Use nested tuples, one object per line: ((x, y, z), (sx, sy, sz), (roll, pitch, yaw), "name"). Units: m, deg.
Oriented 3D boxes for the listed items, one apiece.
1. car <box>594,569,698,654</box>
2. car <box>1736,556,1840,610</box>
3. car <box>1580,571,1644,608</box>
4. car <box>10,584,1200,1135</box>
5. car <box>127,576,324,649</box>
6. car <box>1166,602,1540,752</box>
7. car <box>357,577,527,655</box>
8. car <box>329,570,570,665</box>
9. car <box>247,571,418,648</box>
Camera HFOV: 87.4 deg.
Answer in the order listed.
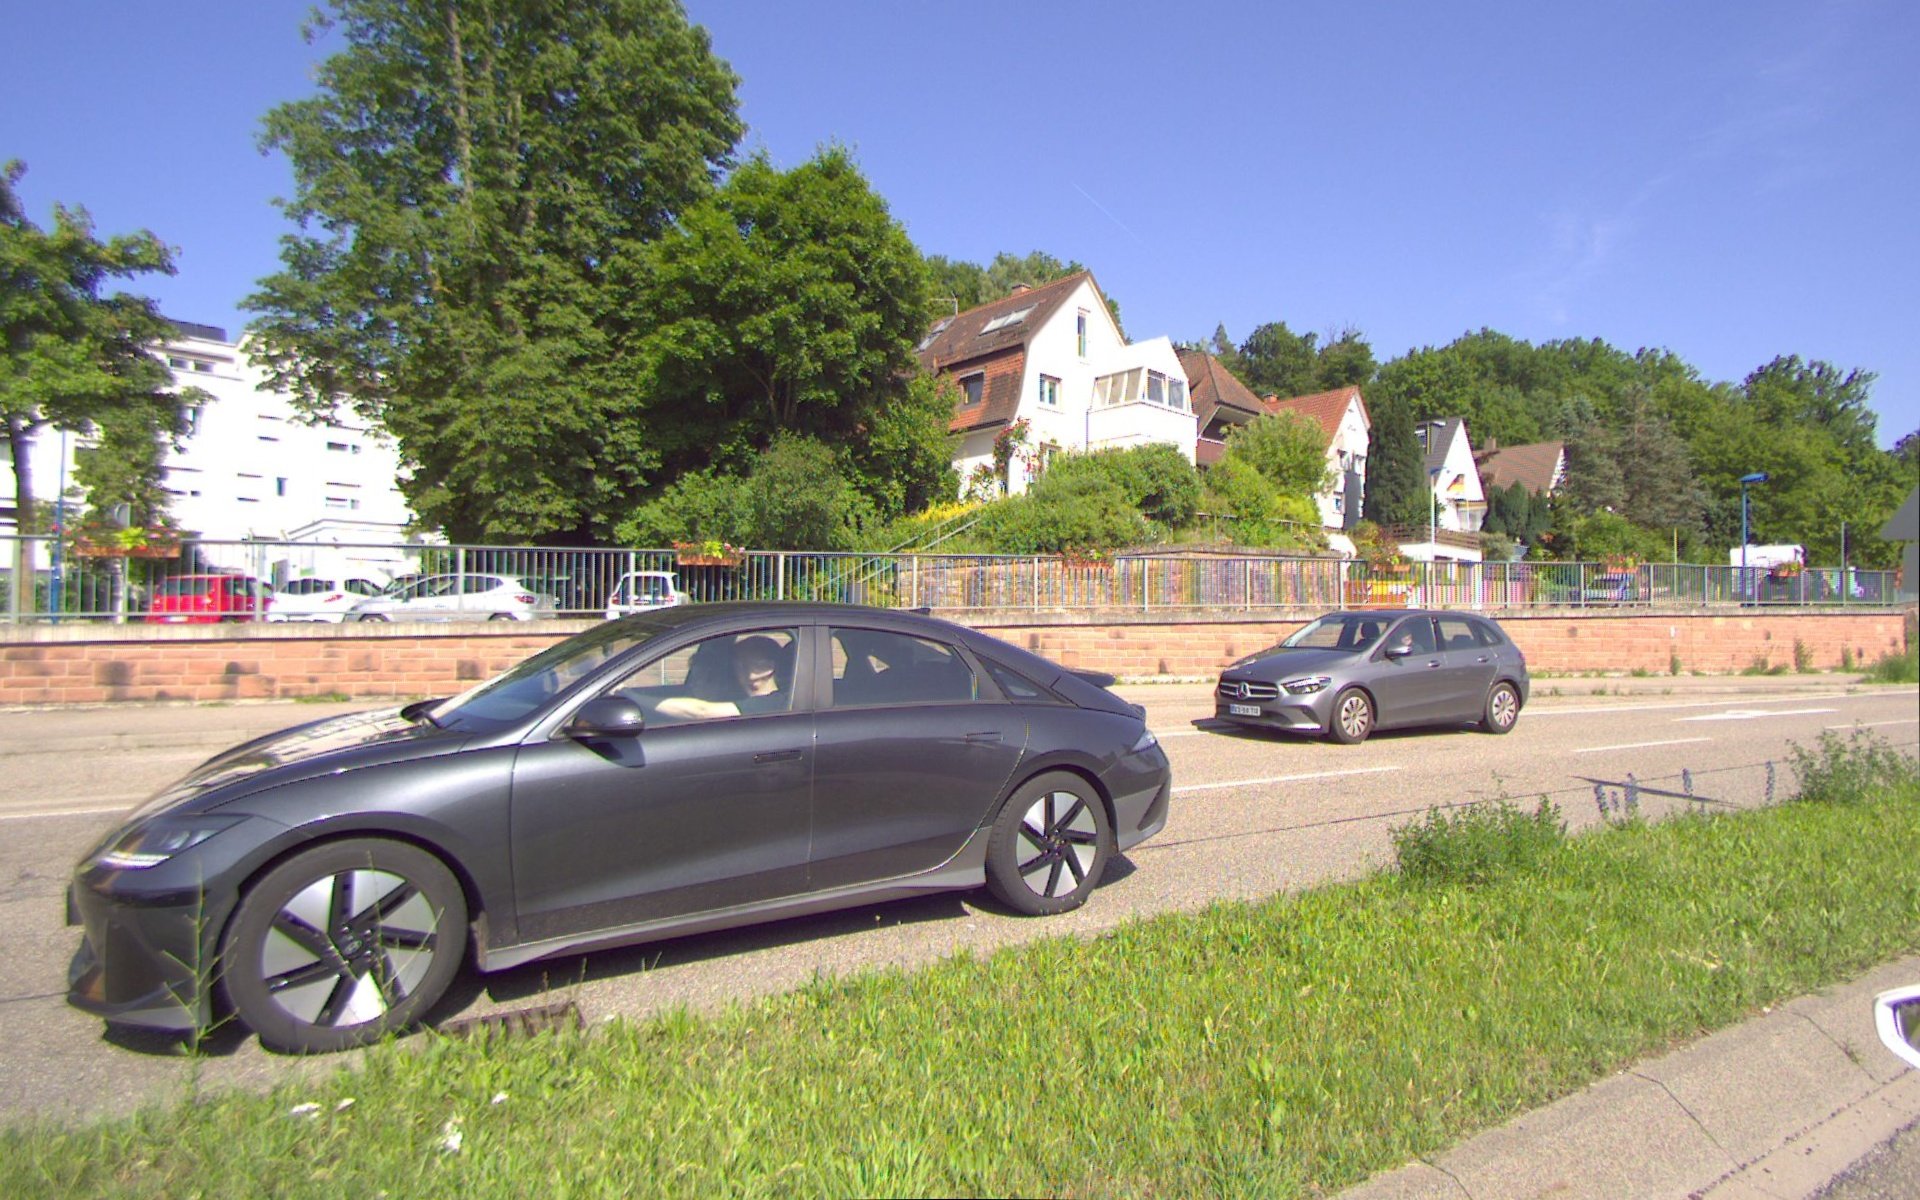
((-7.617, 0.211, 24.689), (1.879, 1.901, 3.993), (0, 1, -9), "car")
((31.780, -0.663, 38.521), (4.687, 1.946, 2.006), (0, 2, -37), "car")
((31.226, -0.464, 48.058), (1.875, 1.651, 3.976), (0, -1, 44), "car")
((-1.135, 0.738, 4.790), (4.668, 1.490, 1.780), (1, 0, -35), "car")
((-17.429, 0.231, 24.103), (1.877, 1.581, 3.998), (1, 1, -2), "car")
((4.971, 0.856, 12.626), (4.453, 1.585, 1.985), (1, 0, -28), "car")
((-12.176, 0.301, 23.935), (1.961, 1.694, 3.999), (1, 1, 0), "car")
((-10.346, 0.365, 20.616), (3.922, 1.813, 1.921), (1, -1, -2), "car")
((-15.033, 0.159, 24.358), (1.877, 1.724, 3.996), (0, 2, -5), "car")
